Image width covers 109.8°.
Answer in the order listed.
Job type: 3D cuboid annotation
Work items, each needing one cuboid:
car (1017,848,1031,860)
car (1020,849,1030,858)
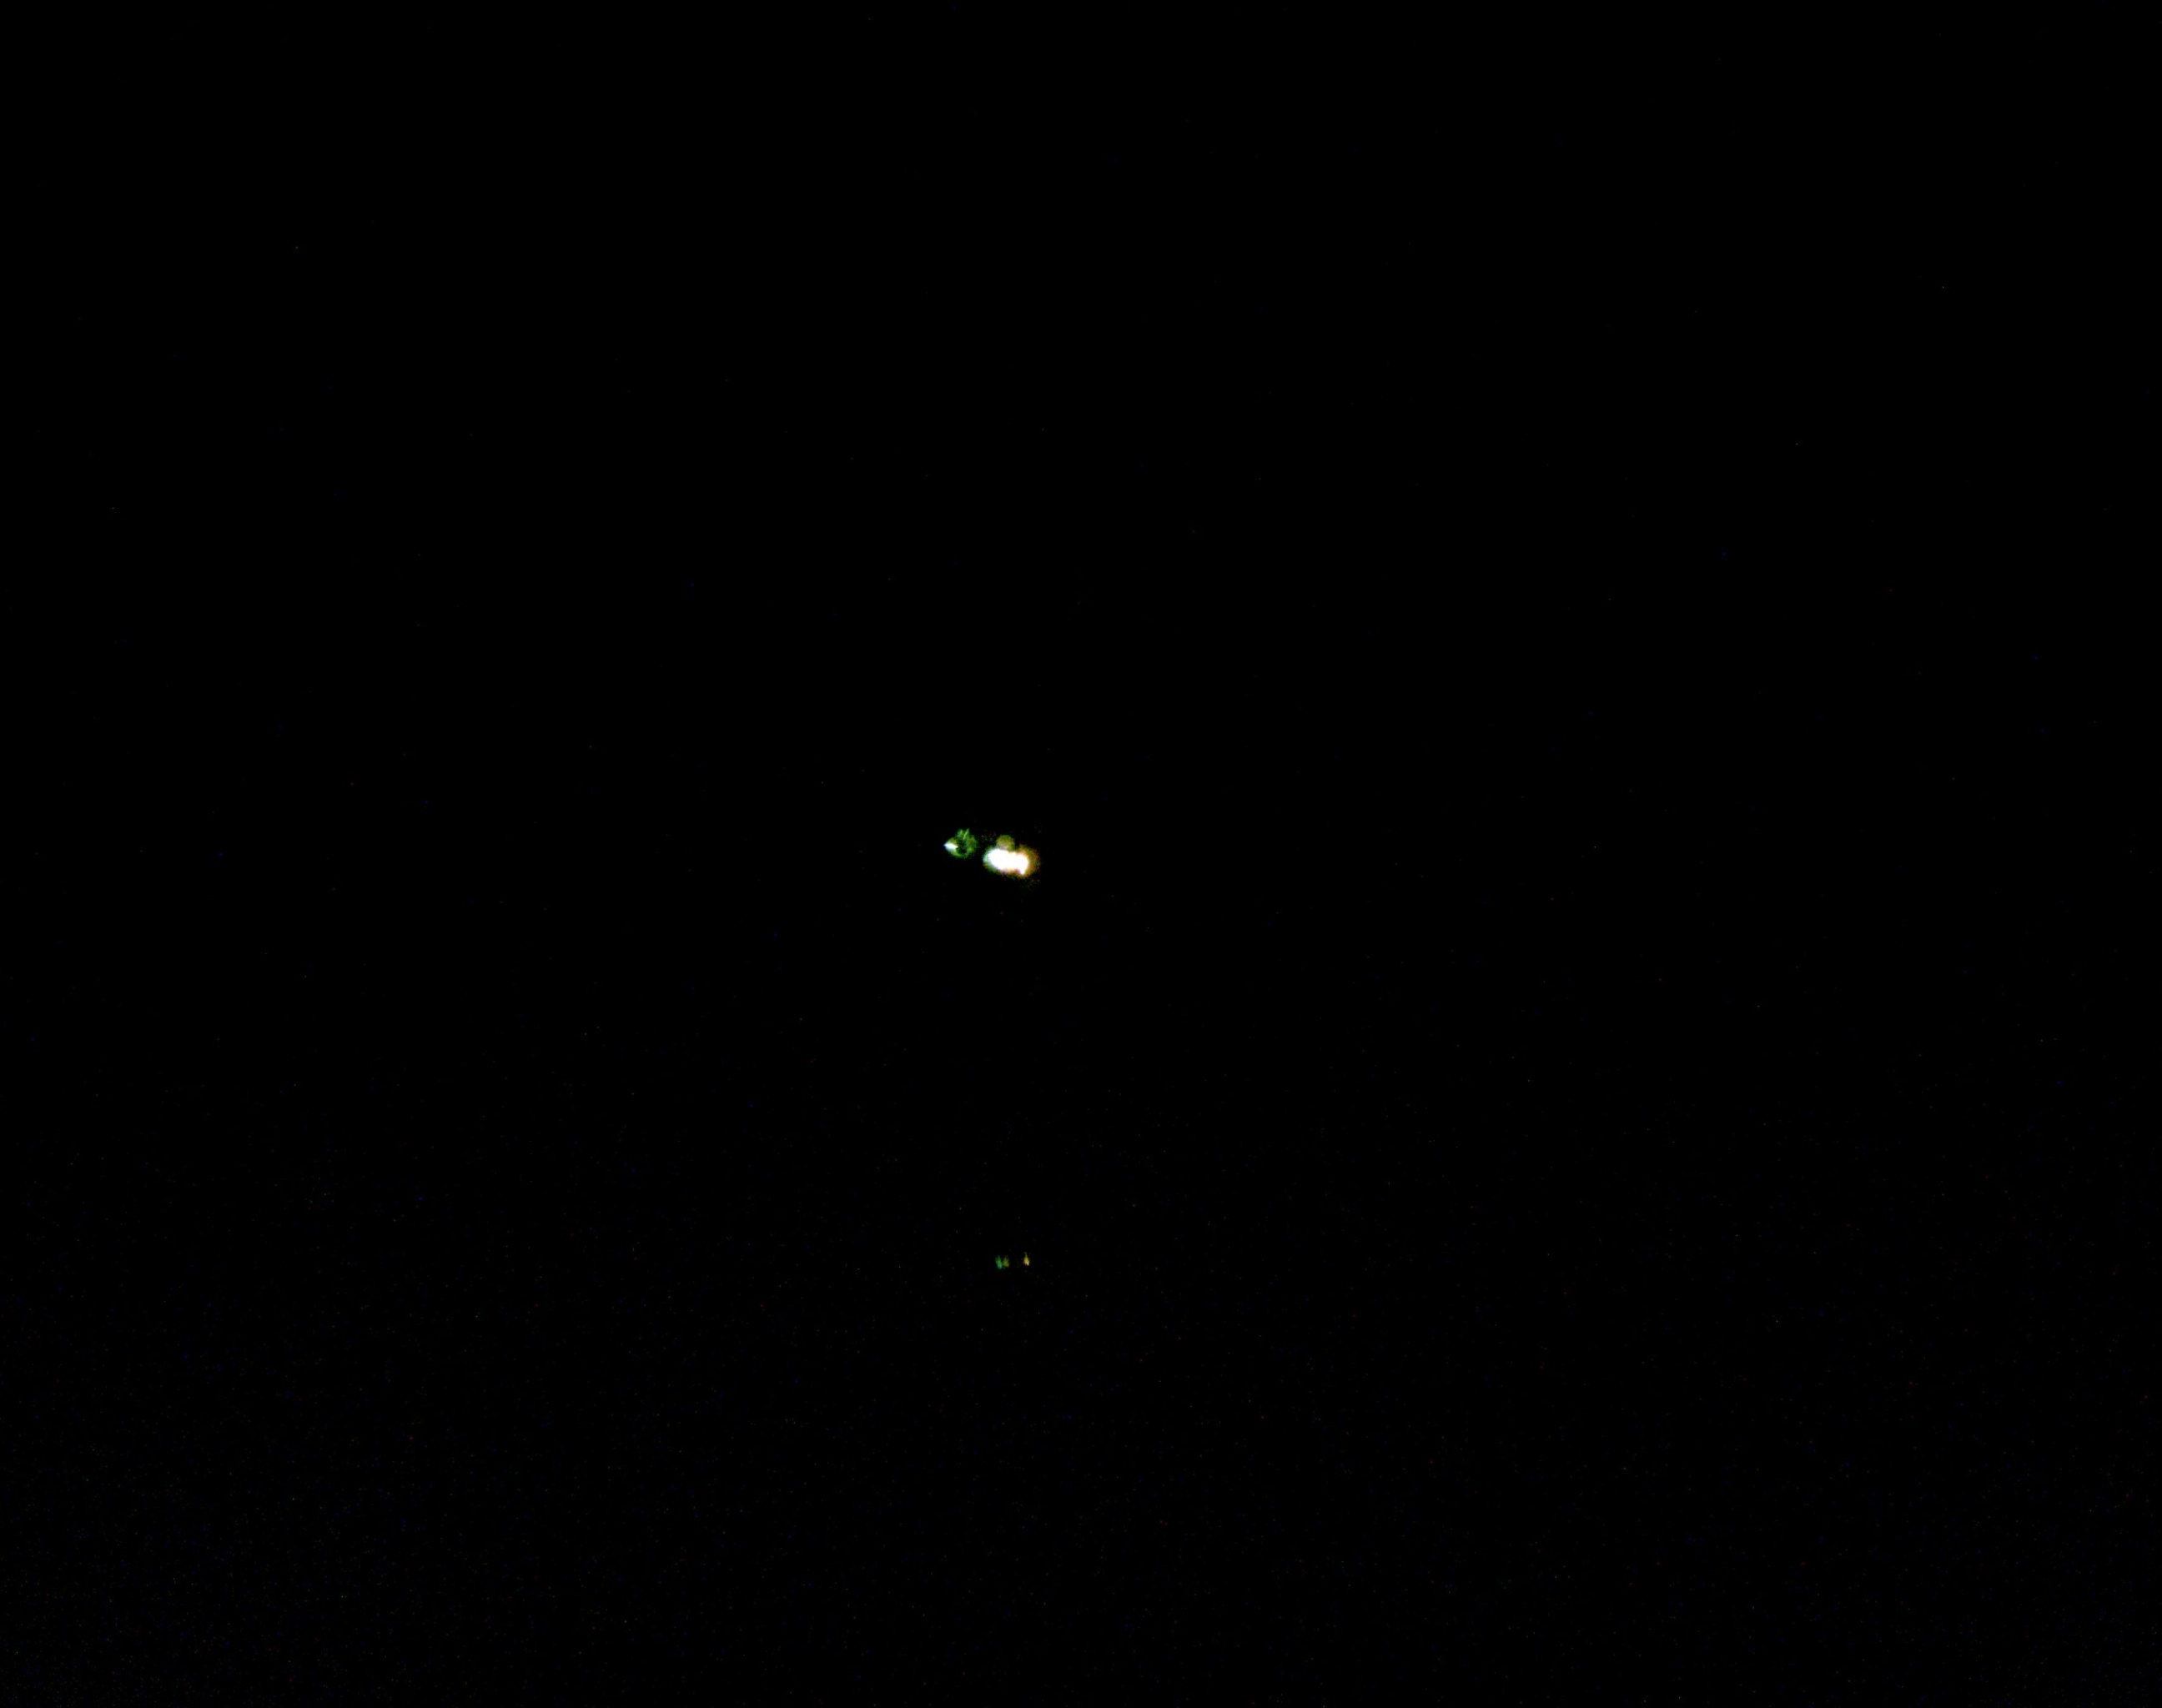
[{"bbox_3d":[-9.694,-0.011,128.708,2.000,2.002,3.996,-1,2,-8],"label":"car"},{"bbox_3d":[-12.690,-0.125,172.473,2.000,2.002,4.272,-1,0,-7],"label":"car"}]
